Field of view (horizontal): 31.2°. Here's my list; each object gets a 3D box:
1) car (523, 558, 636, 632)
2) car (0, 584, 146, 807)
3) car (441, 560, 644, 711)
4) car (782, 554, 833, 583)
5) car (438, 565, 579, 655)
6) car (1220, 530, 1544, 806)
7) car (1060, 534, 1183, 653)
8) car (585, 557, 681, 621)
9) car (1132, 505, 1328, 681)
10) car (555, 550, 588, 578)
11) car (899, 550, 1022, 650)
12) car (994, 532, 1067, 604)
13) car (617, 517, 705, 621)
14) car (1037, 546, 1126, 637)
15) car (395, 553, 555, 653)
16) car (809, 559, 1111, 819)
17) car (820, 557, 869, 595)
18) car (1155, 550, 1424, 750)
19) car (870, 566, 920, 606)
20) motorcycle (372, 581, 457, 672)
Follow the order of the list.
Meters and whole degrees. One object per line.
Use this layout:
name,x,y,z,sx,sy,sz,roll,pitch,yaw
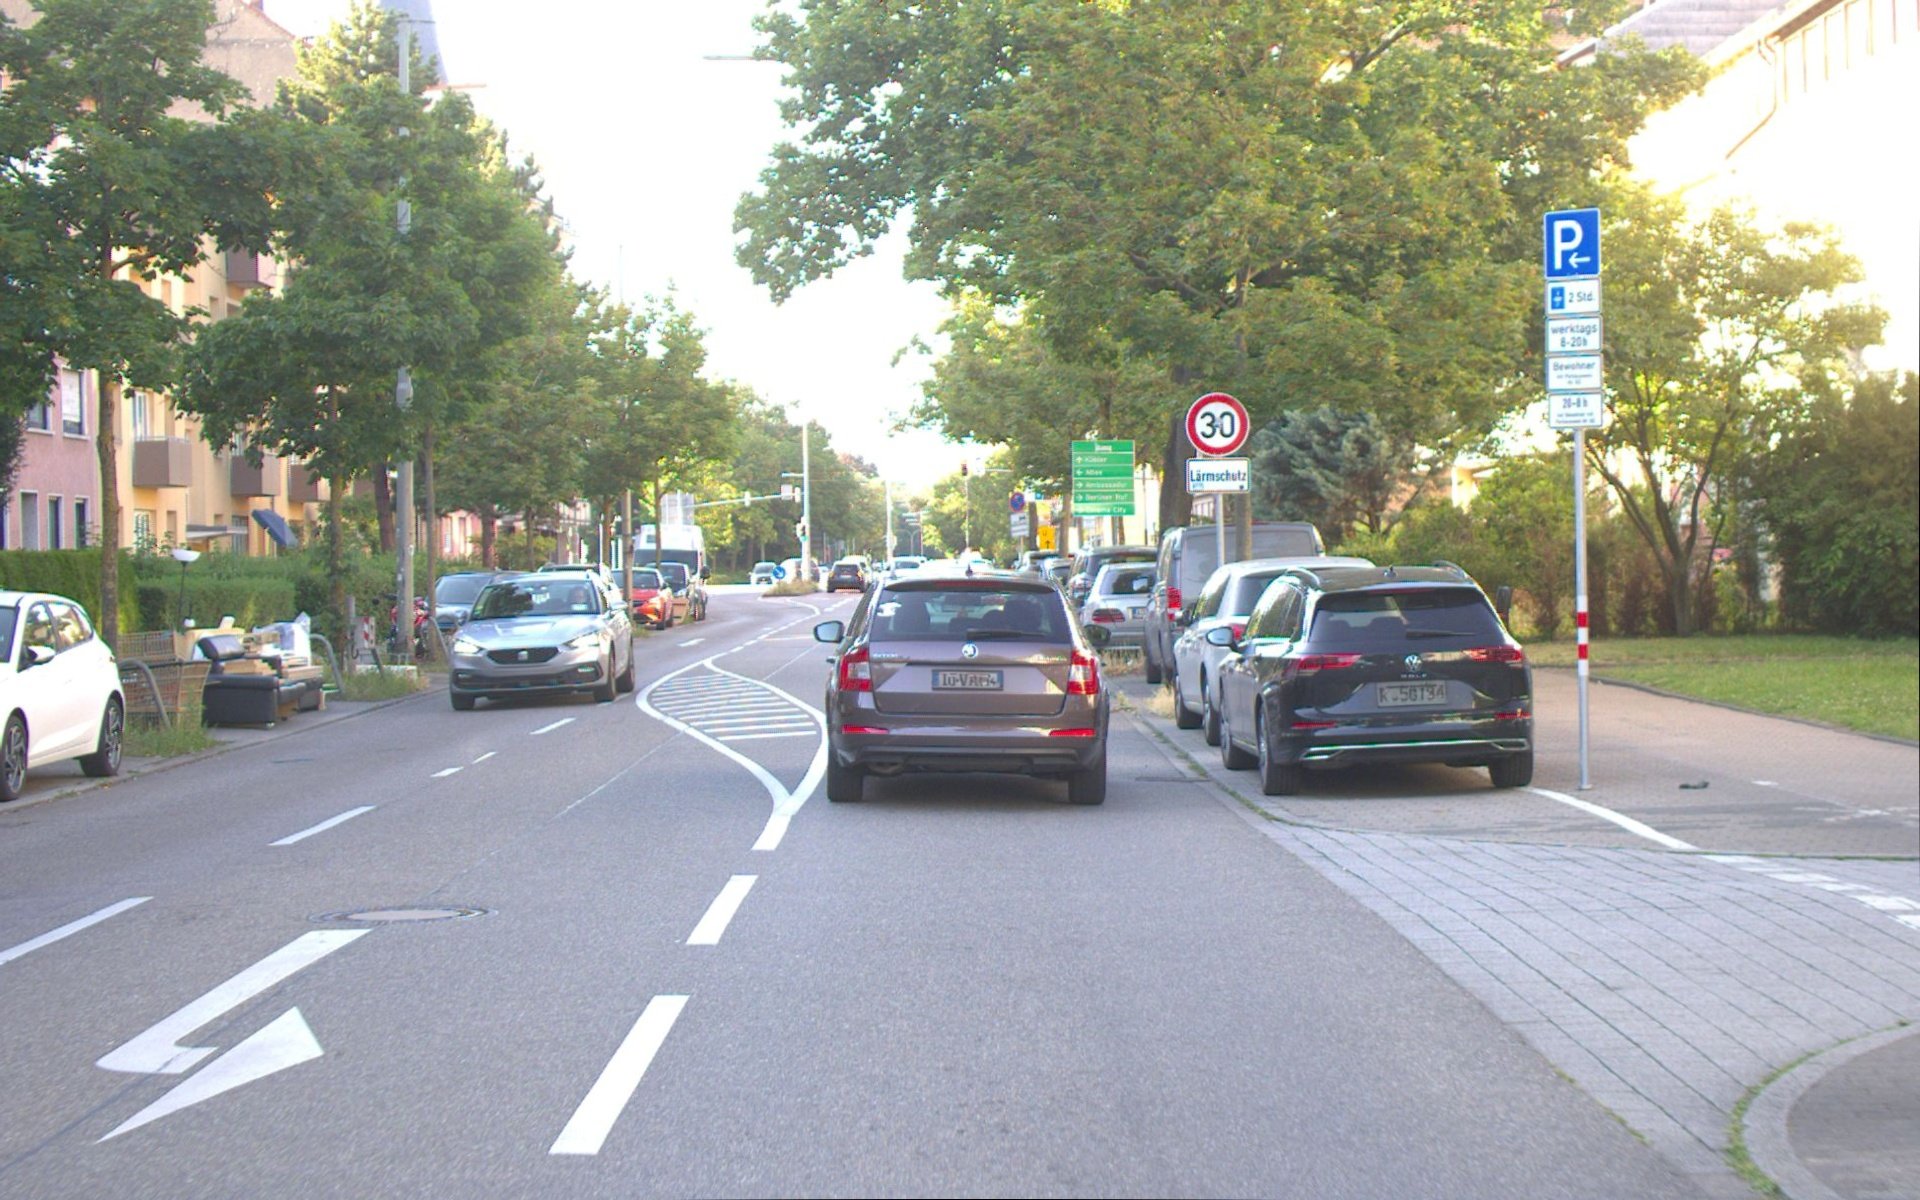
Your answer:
car,-7.905,-0.129,71.723,1.781,1.475,3.971,1,1,2
car,-7.448,0.650,25.442,1.781,1.489,3.971,1,1,2
car,-4.668,0.354,38.944,1.739,1.474,4.310,-4,1,-1
car,-8.679,-1.799,195.436,1.644,1.593,3.601,-1,1,-25
car,-7.788,0.146,59.586,1.781,1.475,3.971,1,1,2
car,2.766,0.389,23.386,1.754,1.681,4.252,1,1,1
car,2.403,-0.122,51.926,1.754,1.709,4.000,1,1,1
car,-7.792,-0.286,82.194,1.781,1.475,3.971,1,1,2
car,3.023,-0.118,39.483,1.916,1.854,5.633,-1,1,1
car,-25.143,-2.334,222.159,1.993,1.744,4.001,-1,1,-8
car,-0.021,0.009,56.836,1.892,1.501,3.790,3,0,-1
car,1.786,-0.828,88.107,1.754,1.799,4.000,1,1,0
car,-8.210,-0.869,94.755,1.991,2.771,5.504,1,1,-1
car,2.496,-0.197,71.303,1.754,1.799,4.000,1,1,1
car,-7.505,0.020,53.504,1.781,1.475,4.033,1,1,2
car,0.045,0.499,22.157,1.754,1.487,4.000,1,1,1
car,-5.364,-1.127,159.349,1.993,1.744,4.001,-1,1,-5
car,2.713,0.366,29.127,1.754,1.551,4.105,1,1,-2
car,-2.523,-0.532,132.472,1.781,1.475,3.971,1,1,-3
motorcycle,-7.528,0.356,47.547,0.740,1.200,2.141,1,1,3
